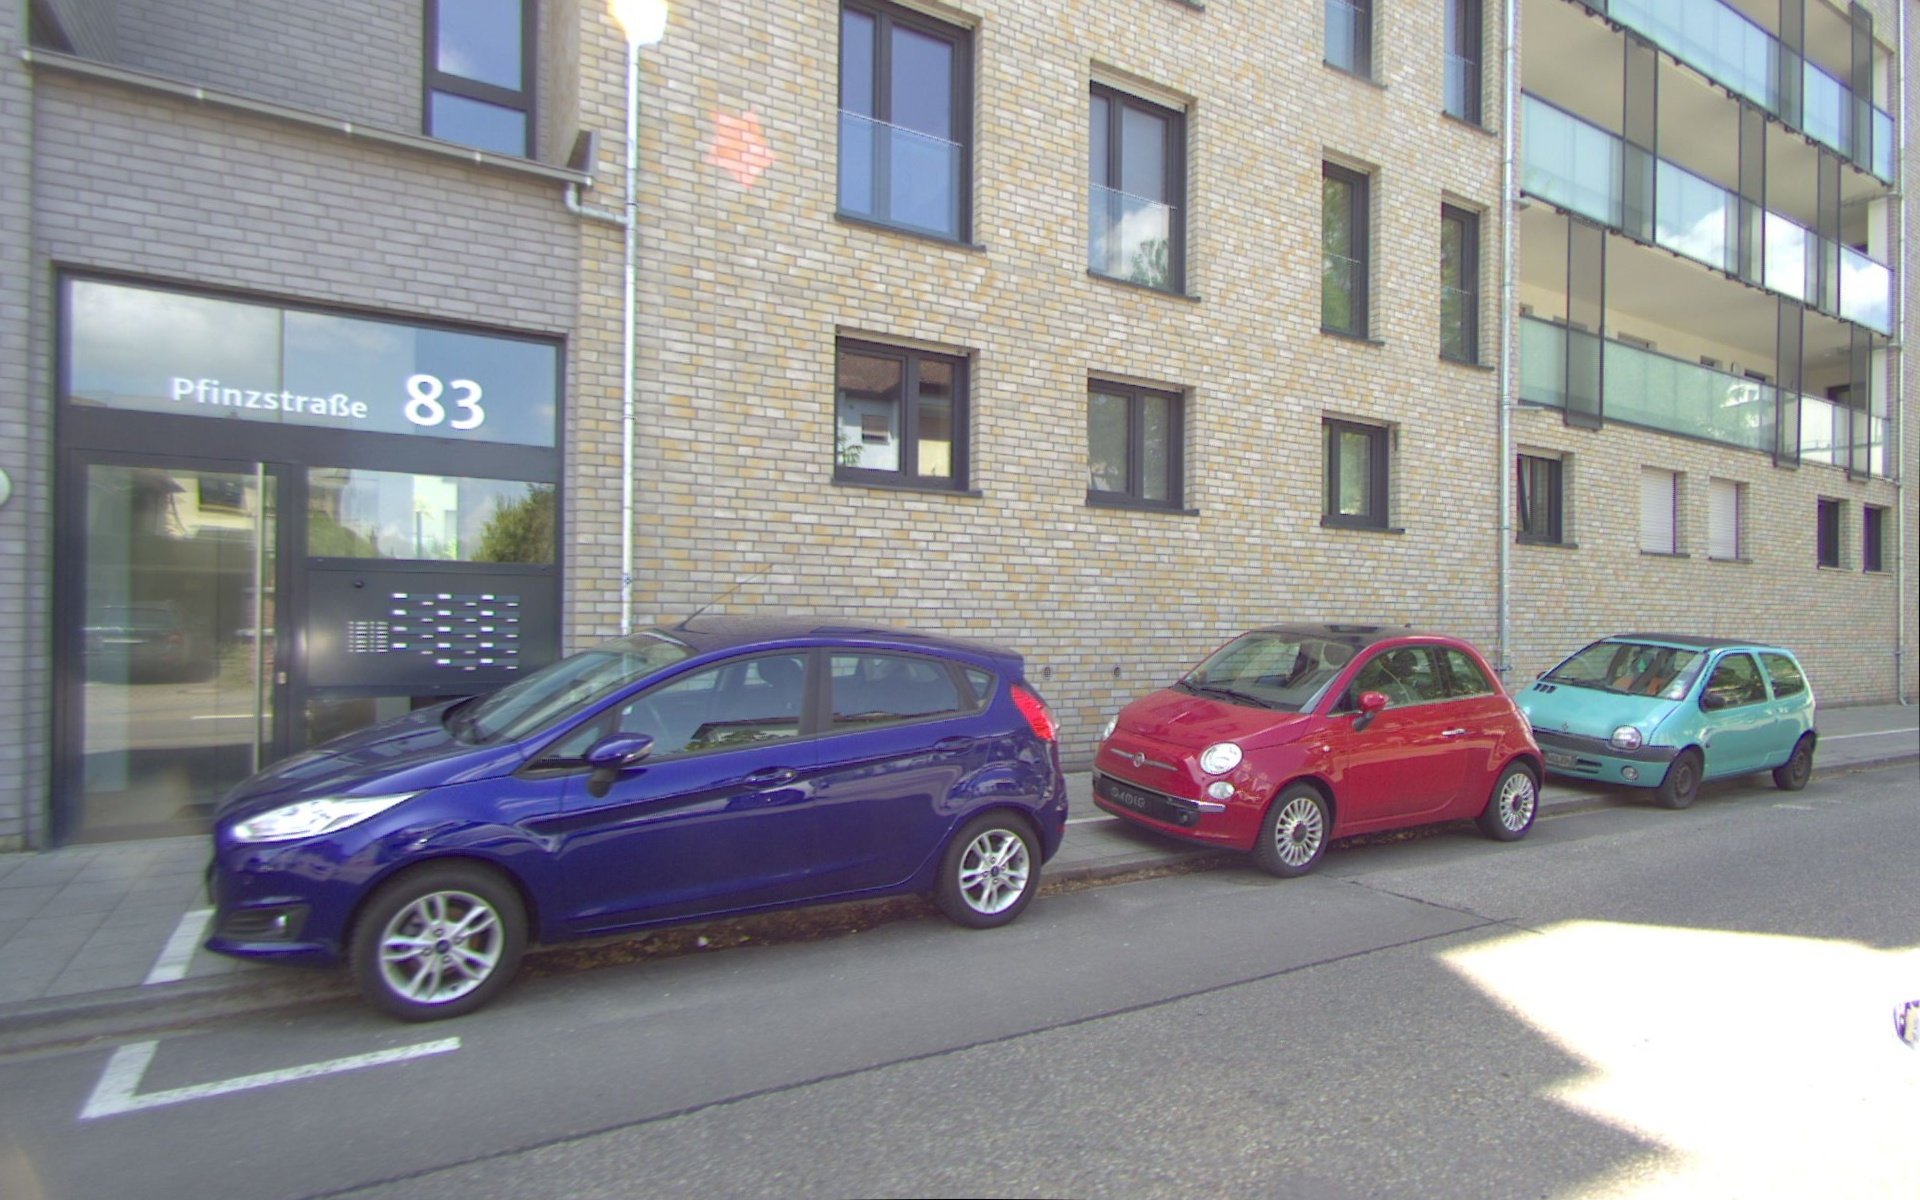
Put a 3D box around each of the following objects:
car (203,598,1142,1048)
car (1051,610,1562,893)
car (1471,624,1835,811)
[{"bbox_3d":[-1.188,0.788,5.066,3.957,1.475,1.715,2,0,-29],"label":"car"},{"bbox_3d":[2.555,0.898,7.231,3.530,1.574,1.583,1,-1,-31],"label":"car"},{"bbox_3d":[6.905,1.030,9.937,3.661,1.475,1.582,2,1,-31],"label":"car"}]
